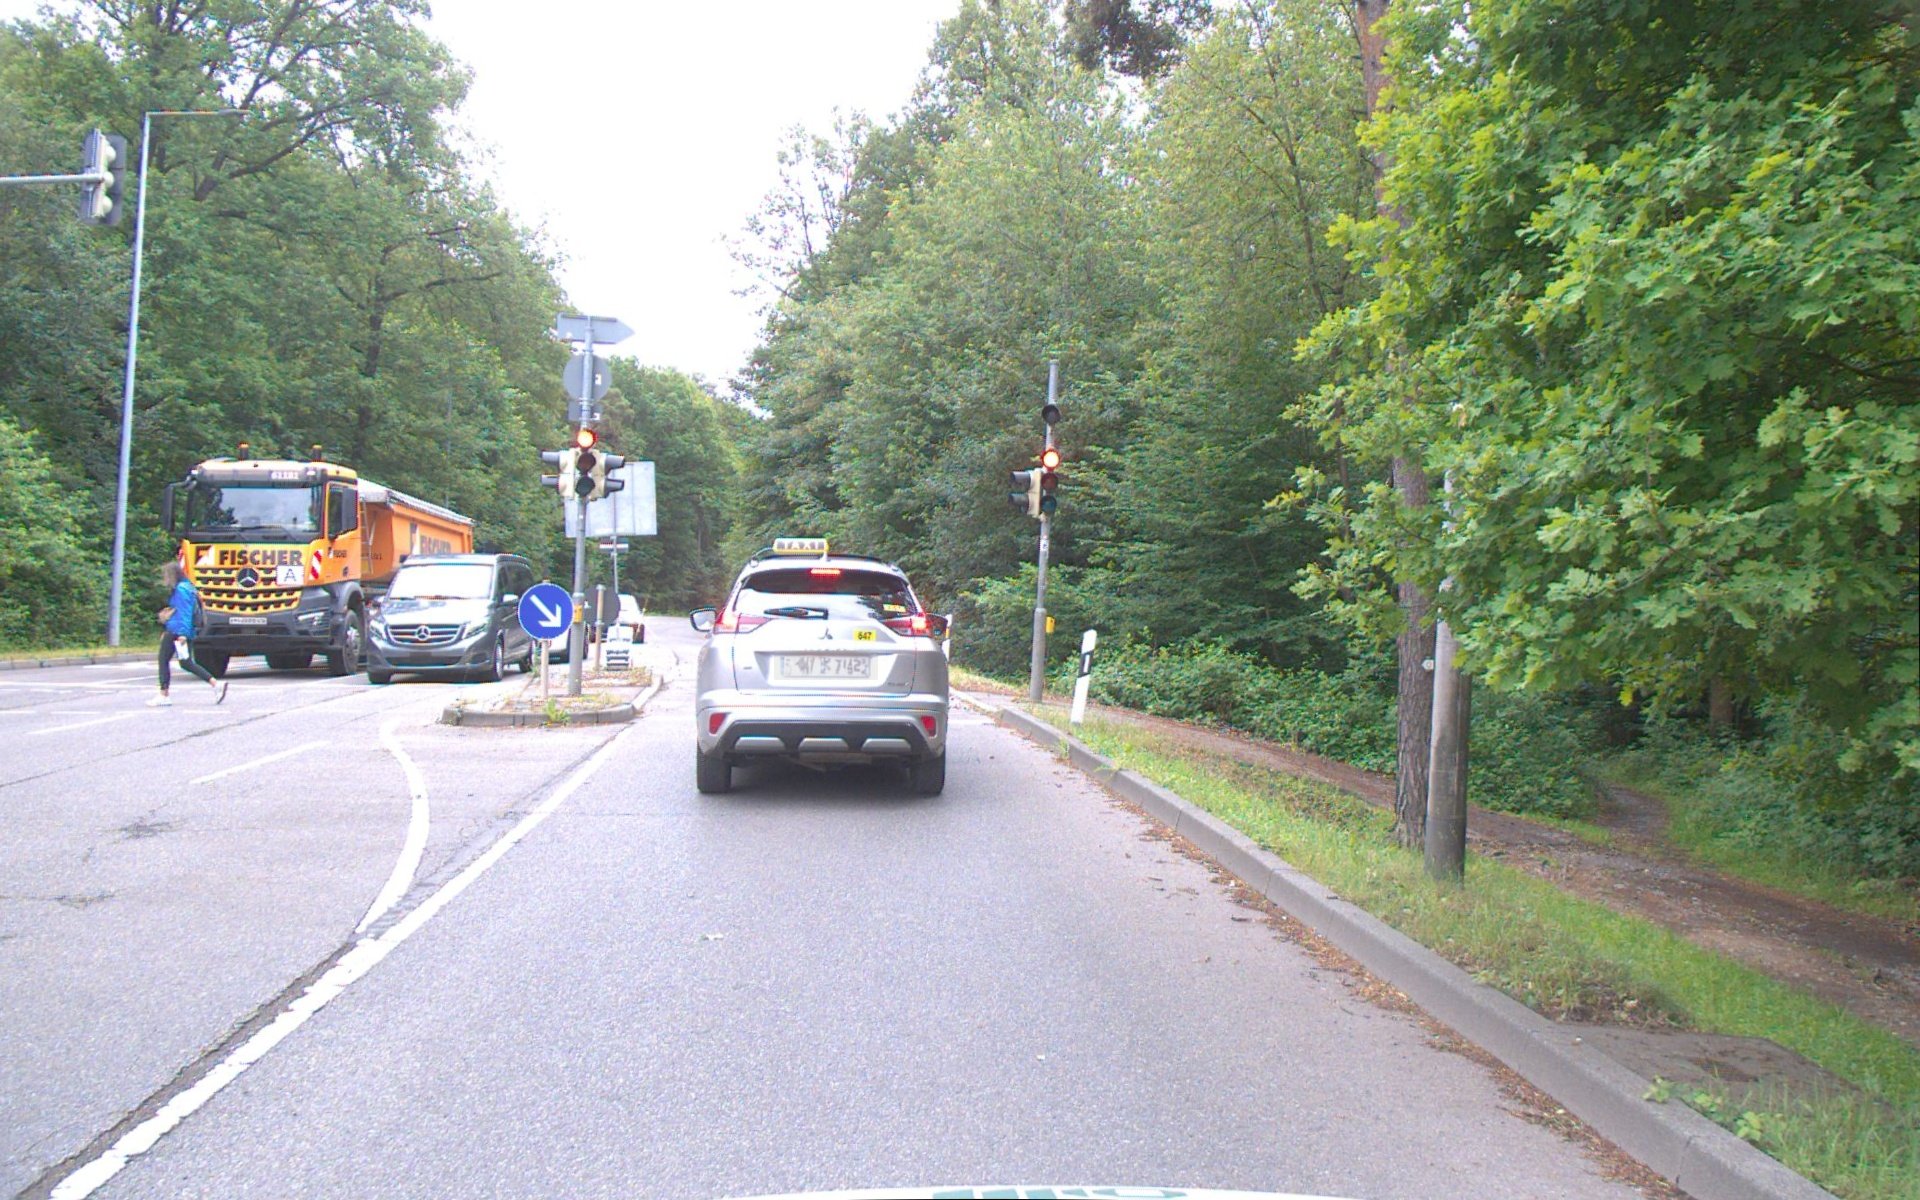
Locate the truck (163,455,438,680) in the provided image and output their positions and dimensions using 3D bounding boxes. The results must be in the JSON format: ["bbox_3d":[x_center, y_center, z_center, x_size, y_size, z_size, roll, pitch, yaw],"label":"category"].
[{"bbox_3d":[-11.068,-0.459,28.550,2.687,3.376,7.148,0,-1,-7],"label":"truck"}]

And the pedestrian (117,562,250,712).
[{"bbox_3d":[-8.985,0.404,19.181,1.025,1.678,1.069,1,1,1],"label":"pedestrian"}]

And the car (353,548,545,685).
[{"bbox_3d":[-7.859,0.233,25.914,1.955,1.927,4.832,0,0,-6],"label":"car"}]

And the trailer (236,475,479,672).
[{"bbox_3d":[-11.606,-0.423,32.776,2.687,3.376,8.554,0,-1,-7],"label":"trailer"}]

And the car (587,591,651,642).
[{"bbox_3d":[-10.904,0.526,53.104,1.778,1.534,3.714,-1,0,-9],"label":"car"}]

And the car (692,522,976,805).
[{"bbox_3d":[-1.037,0.405,12.799,1.811,1.811,3.994,1,0,-7],"label":"car"}]

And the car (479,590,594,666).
[{"bbox_3d":[-8.395,0.516,33.076,1.580,1.344,3.718,-1,1,-5],"label":"car"}]
